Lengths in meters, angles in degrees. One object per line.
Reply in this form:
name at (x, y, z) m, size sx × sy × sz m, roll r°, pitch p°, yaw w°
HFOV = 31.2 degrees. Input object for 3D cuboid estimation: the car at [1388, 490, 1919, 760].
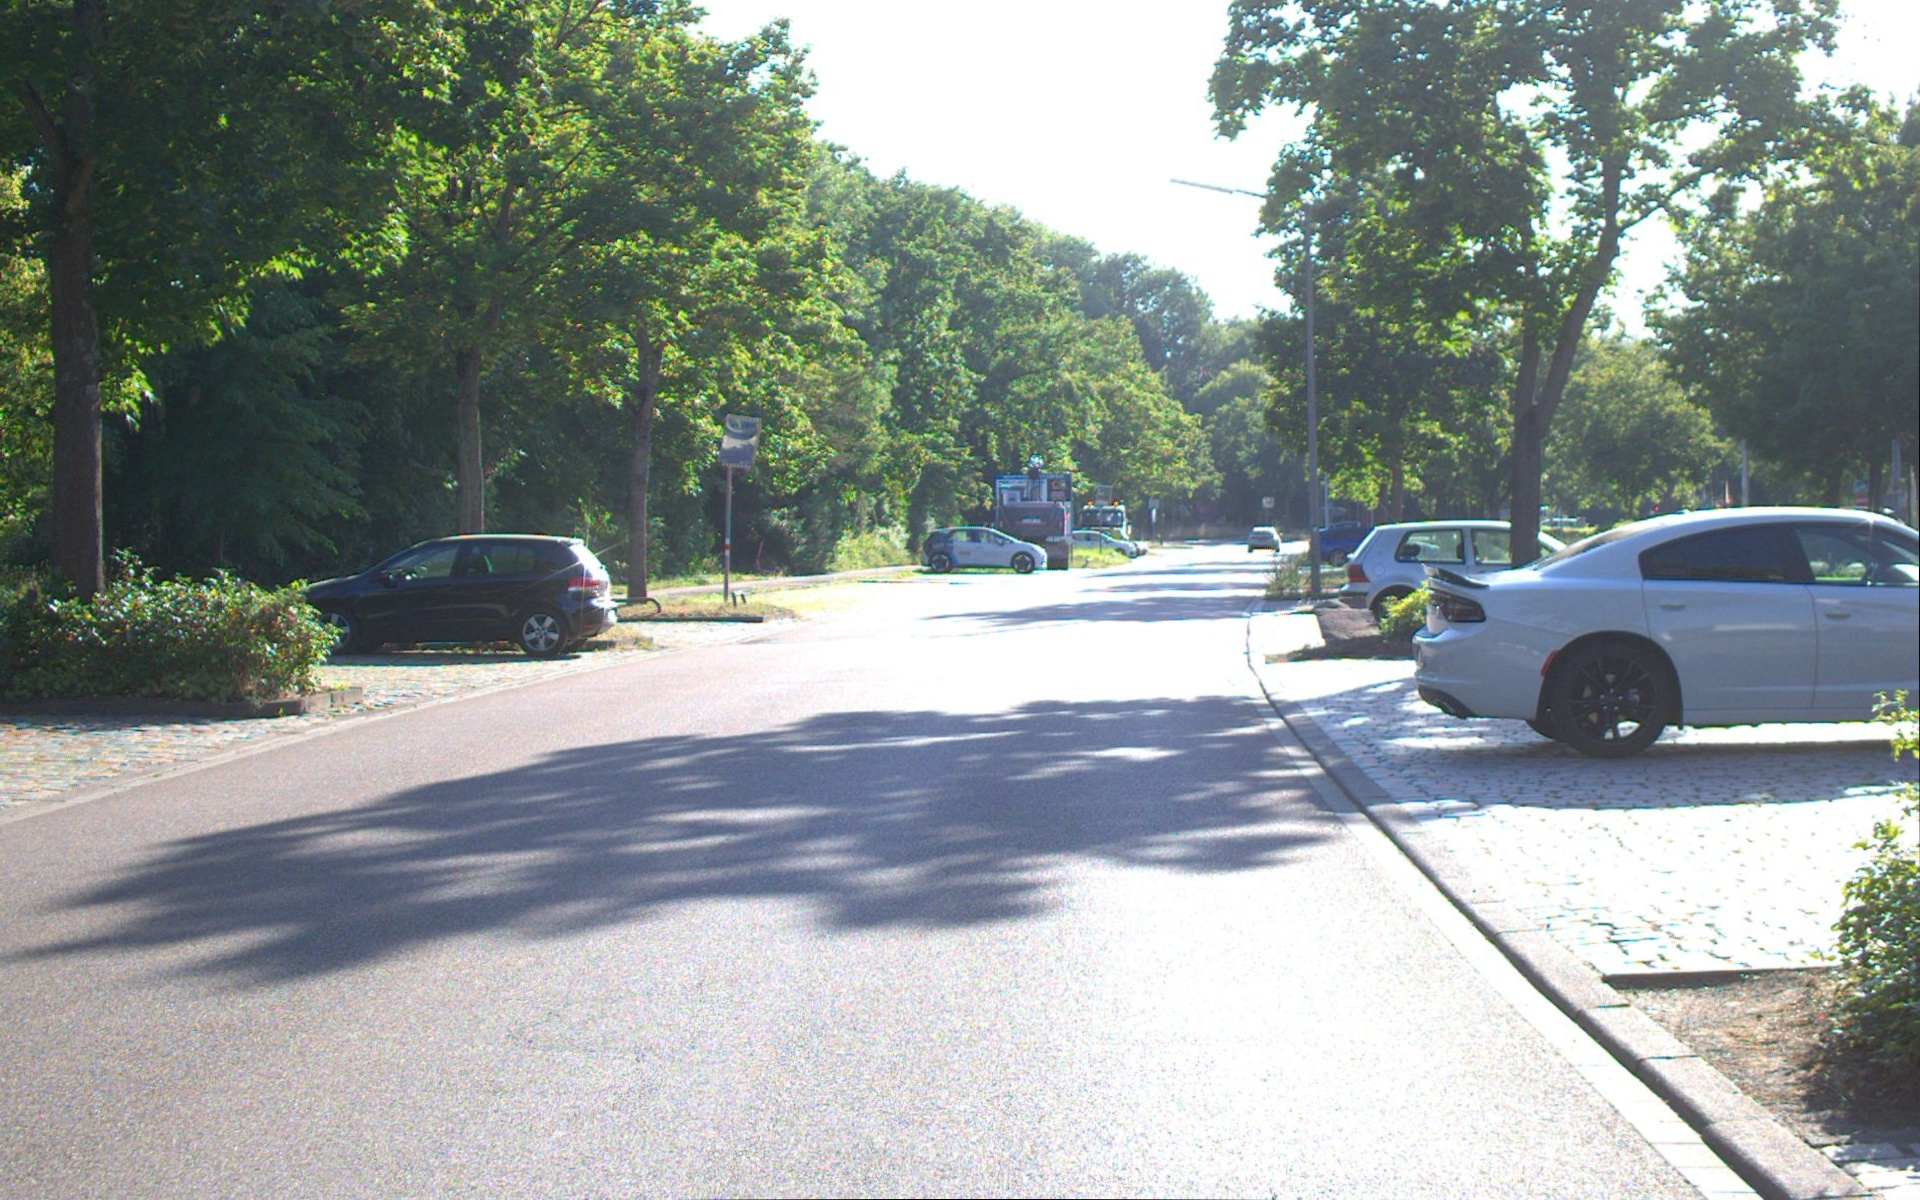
car at (5.419, 0.112, 21.619) m, size 5.175 × 1.568 × 2.158 m, roll -1°, pitch 1°, yaw 1°

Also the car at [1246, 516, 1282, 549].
car at (17.888, -3.997, 202.501) m, size 1.994 × 1.897 × 4.000 m, roll -1°, pitch 1°, yaw 4°

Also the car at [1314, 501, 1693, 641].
car at (6.621, -0.351, 41.749) m, size 4.361 × 1.474 × 1.999 m, roll -3°, pitch 0°, yaw 13°

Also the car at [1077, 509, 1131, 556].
car at (7.431, -3.505, 177.897) m, size 2.516 × 2.378 × 4.373 m, roll -1°, pitch 1°, yaw -1°

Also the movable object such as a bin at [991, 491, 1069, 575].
movable object such as a bin at (2.638, -2.500, 128.308) m, size 2.838 × 3.058 × 4.927 m, roll -1°, pitch 1°, yaw 2°

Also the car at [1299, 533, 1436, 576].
car at (14.647, -1.642, 123.634) m, size 4.843 × 1.474 × 2.000 m, roll -1°, pitch 1°, yaw 7°

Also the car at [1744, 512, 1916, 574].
car at (24.645, -1.619, 97.467) m, size 4.430 × 1.700 × 2.059 m, roll -1°, pitch 1°, yaw 5°

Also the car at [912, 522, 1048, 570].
car at (0.693, -1.811, 115.675) m, size 4.359 × 1.542 × 2.000 m, roll -1°, pitch 1°, yaw 7°

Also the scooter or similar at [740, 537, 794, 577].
scooter or similar at (-5.690, -1.277, 101.586) m, size 1.580 × 1.141 × 0.577 m, roll -2°, pitch 1°, yaw -44°

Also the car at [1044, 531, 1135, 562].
car at (6.324, -2.625, 168.386) m, size 4.358 × 1.474 × 2.000 m, roll -1°, pitch 1°, yaw 0°

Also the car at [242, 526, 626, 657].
car at (-6.471, -0.127, 42.589) m, size 4.359 × 1.474 × 2.000 m, roll 1°, pitch 1°, yaw 3°
